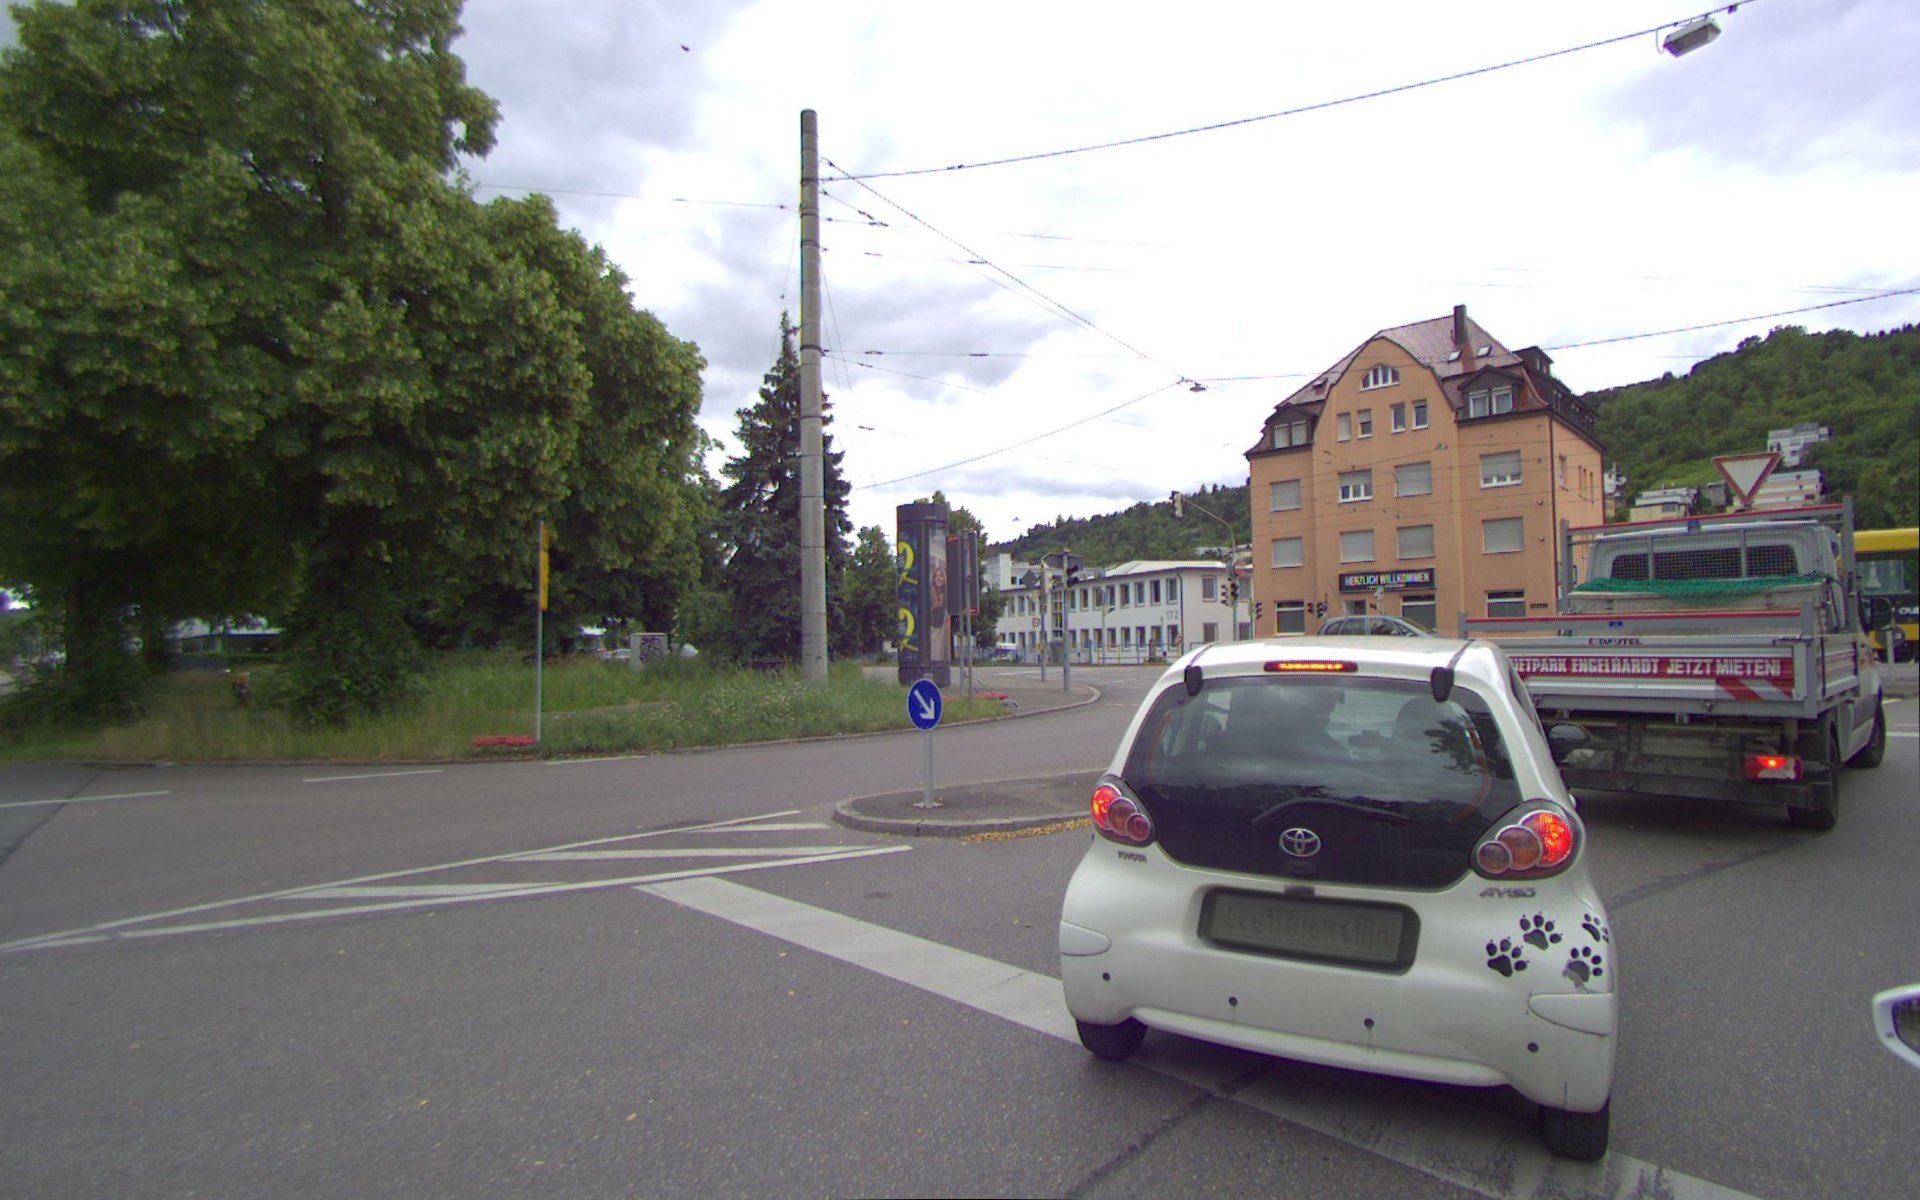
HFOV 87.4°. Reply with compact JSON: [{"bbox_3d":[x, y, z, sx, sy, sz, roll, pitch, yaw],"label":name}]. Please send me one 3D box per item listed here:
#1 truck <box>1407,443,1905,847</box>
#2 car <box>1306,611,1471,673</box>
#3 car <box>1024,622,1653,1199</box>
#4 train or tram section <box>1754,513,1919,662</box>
[{"bbox_3d":[6.508,0.366,8.988,5.986,2.429,2.399,1,-4,-43],"label":"truck"},{"bbox_3d":[11.990,1.201,28.267,1.791,1.605,3.839,0,-3,-44],"label":"car"},{"bbox_3d":[1.745,0.868,4.317,1.615,1.451,3.426,-3,-3,28],"label":"car"},{"bbox_3d":[29.759,-0.605,22.237,18.900,3.714,3.261,-4,-3,42],"label":"train or tram section"}]
